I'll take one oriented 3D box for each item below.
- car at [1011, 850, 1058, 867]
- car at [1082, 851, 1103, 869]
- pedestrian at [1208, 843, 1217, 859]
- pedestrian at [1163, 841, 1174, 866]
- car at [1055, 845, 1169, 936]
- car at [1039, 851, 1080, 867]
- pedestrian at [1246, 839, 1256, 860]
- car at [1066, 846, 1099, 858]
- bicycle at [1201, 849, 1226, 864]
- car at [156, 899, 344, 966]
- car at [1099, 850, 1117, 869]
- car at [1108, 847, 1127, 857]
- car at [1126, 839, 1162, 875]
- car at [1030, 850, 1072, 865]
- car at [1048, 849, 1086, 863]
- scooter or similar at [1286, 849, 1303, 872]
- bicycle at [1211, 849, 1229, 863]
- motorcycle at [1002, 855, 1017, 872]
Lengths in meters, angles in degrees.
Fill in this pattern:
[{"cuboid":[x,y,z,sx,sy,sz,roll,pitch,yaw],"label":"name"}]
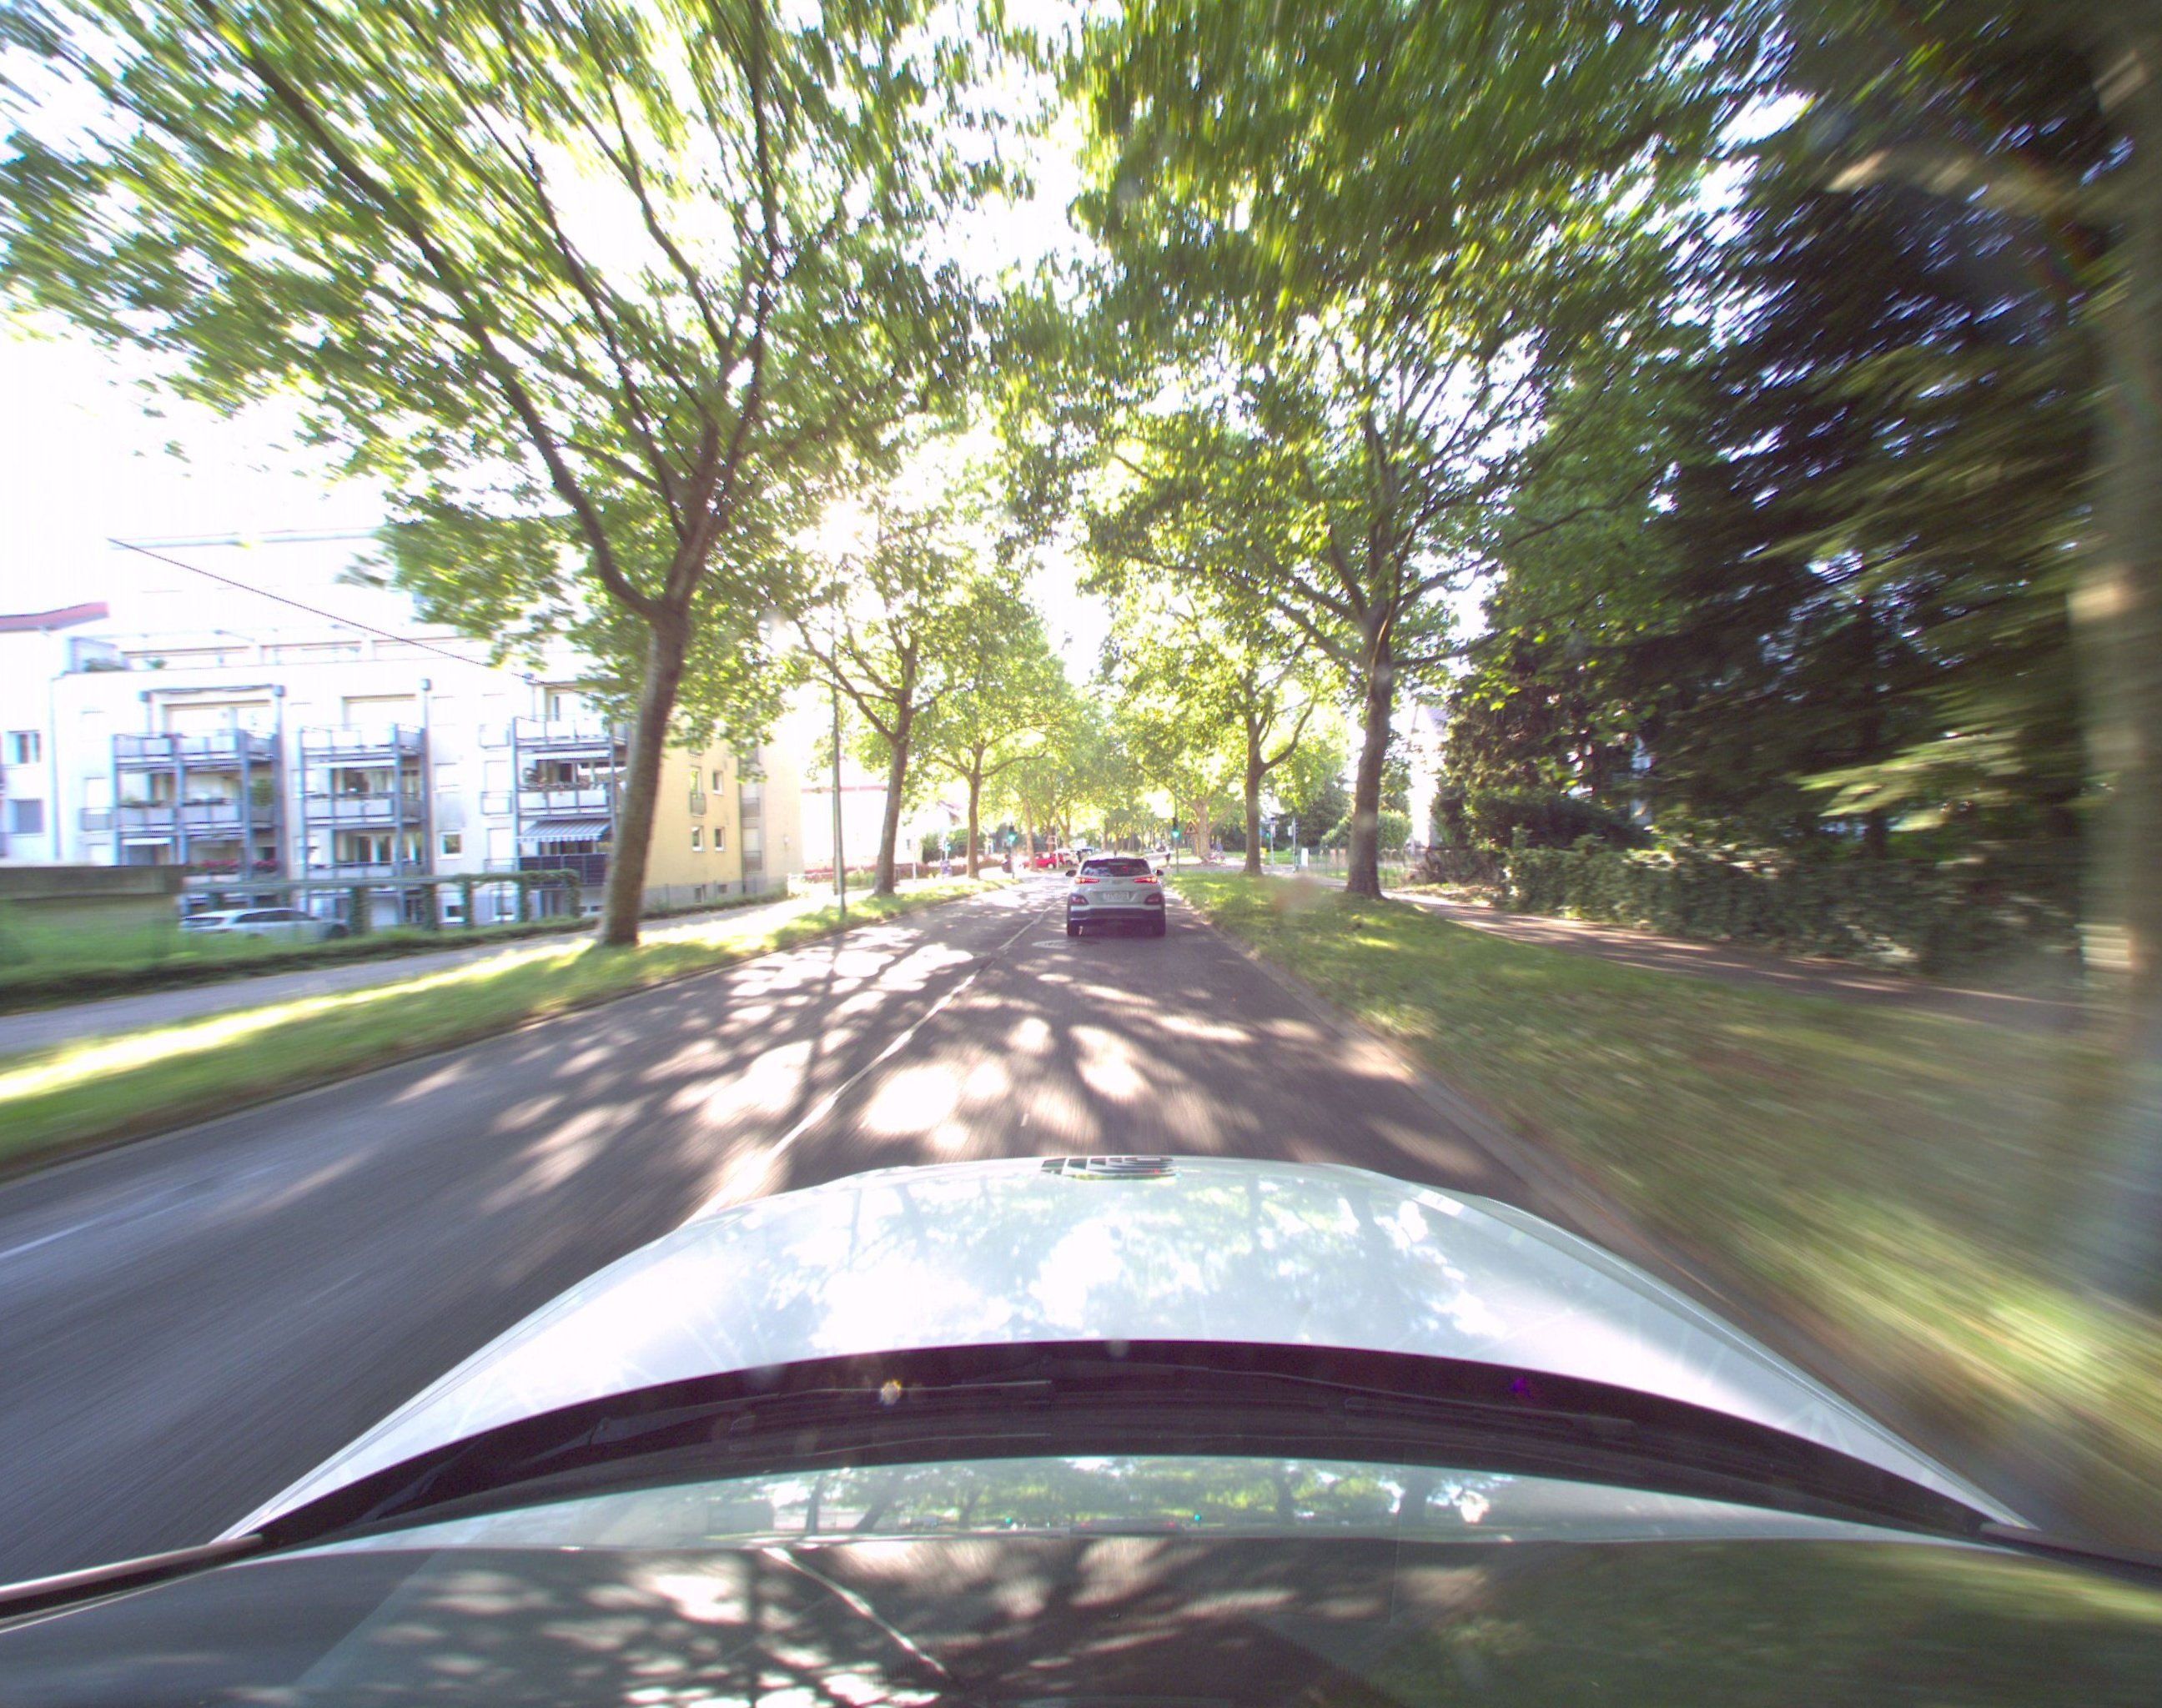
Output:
[{"cuboid":[-4.127,0.401,73.418,3.969,1.478,2.002,-1,0,3],"label":"car"},{"cuboid":[1.086,0.522,73.452,1.681,1.437,3.686,-1,1,4],"label":"car"},{"cuboid":[16.886,-0.433,104.210,1.088,2.013,1.108,-1,0,10],"label":"pedestrian"},{"cuboid":[7.313,-0.054,67.997,0.862,2.014,0.816,-1,-1,11],"label":"pedestrian"},{"cuboid":[0.639,0.642,16.322,1.985,1.574,4.003,-1,0,3],"label":"car"},{"cuboid":[-2.183,0.507,83.062,3.968,1.478,2.003,-1,0,5],"label":"car"},{"cuboid":[14.372,-0.411,68.819,0.828,1.736,0.888,-1,-1,11],"label":"pedestrian"},{"cuboid":[0.200,-0.233,102.789,3.969,1.478,2.002,-1,0,3],"label":"car"},{"cuboid":[10.729,0.232,66.022,0.608,1.164,2.124,0,-1,-40],"label":"bicycle"},{"cuboid":[-26.635,2.452,26.334,1.988,1.713,3.998,-1,1,-1],"label":"car"},{"cuboid":[2.744,0.527,82.525,1.784,1.882,4.003,-1,0,3],"label":"car"},{"cuboid":[7.390,-0.409,164.687,3.664,1.808,1.745,-1,0,-6],"label":"car"},{"cuboid":[3.721,0.182,48.617,1.985,2.013,4.004,-1,0,3],"label":"car"},{"cuboid":[-2.958,0.354,80.913,3.969,1.478,2.002,-1,0,3],"label":"car"},{"cuboid":[-1.473,0.225,87.506,3.969,1.478,2.002,-1,0,3],"label":"car"},{"cuboid":[12.567,0.376,47.881,0.547,1.258,2.316,-1,0,4],"label":"scooter or similar"},{"cuboid":[11.445,0.172,67.145,0.604,1.183,2.107,-1,0,-16],"label":"bicycle"},{"cuboid":[-6.068,0.770,69.006,0.842,1.378,2.778,-1,0,3],"label":"motorcycle"}]
